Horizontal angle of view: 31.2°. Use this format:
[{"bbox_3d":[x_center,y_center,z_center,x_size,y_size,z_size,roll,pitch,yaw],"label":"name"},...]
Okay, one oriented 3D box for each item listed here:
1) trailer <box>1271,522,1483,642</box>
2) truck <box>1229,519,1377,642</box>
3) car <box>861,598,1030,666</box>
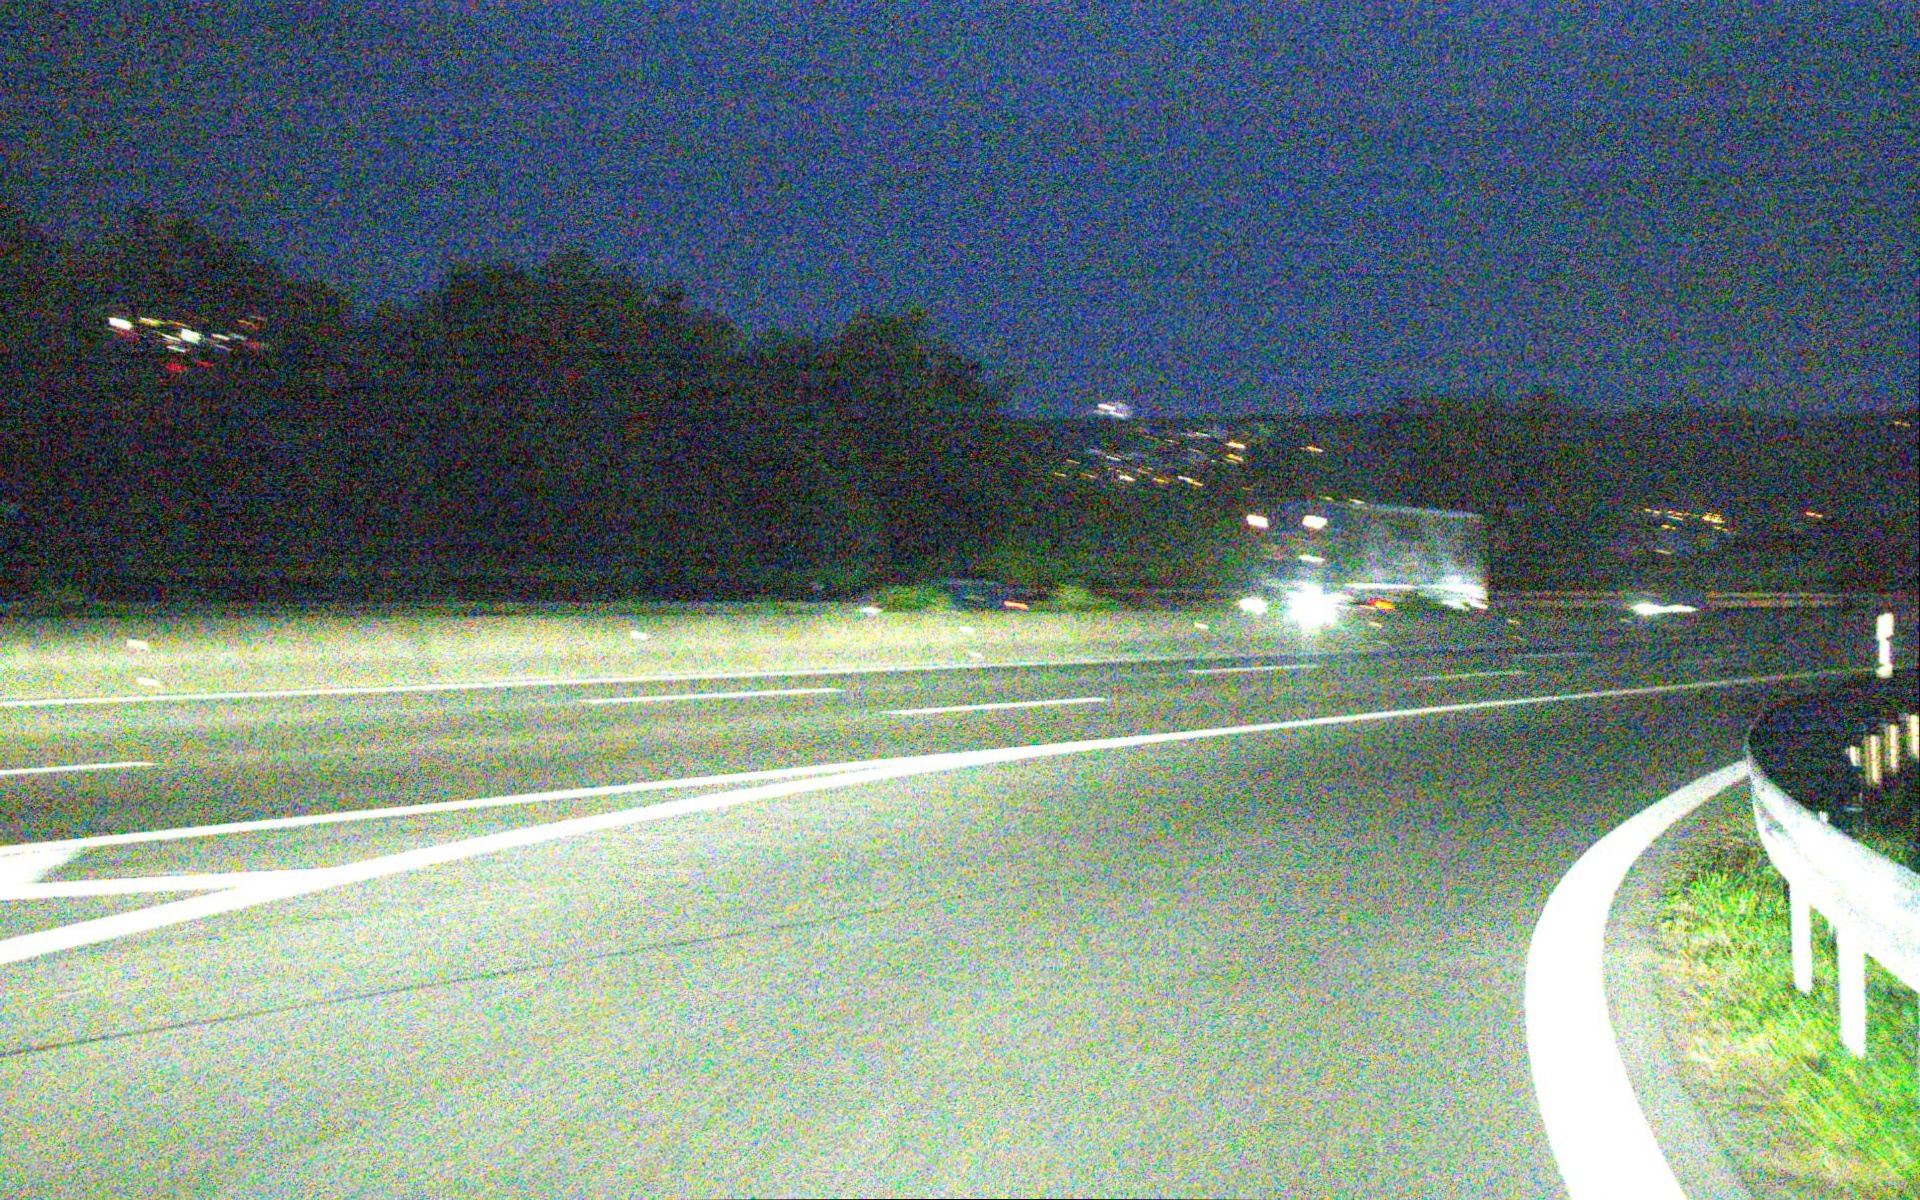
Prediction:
[{"bbox_3d":[14.369,-0.503,117.054,2.762,3.788,13.739,2,0,26],"label":"trailer"},{"bbox_3d":[11.027,-0.585,110.049,2.762,3.788,5.954,2,0,26],"label":"truck"},{"bbox_3d":[-0.298,0.726,77.365,1.996,1.419,4.363,2,0,27],"label":"car"}]
